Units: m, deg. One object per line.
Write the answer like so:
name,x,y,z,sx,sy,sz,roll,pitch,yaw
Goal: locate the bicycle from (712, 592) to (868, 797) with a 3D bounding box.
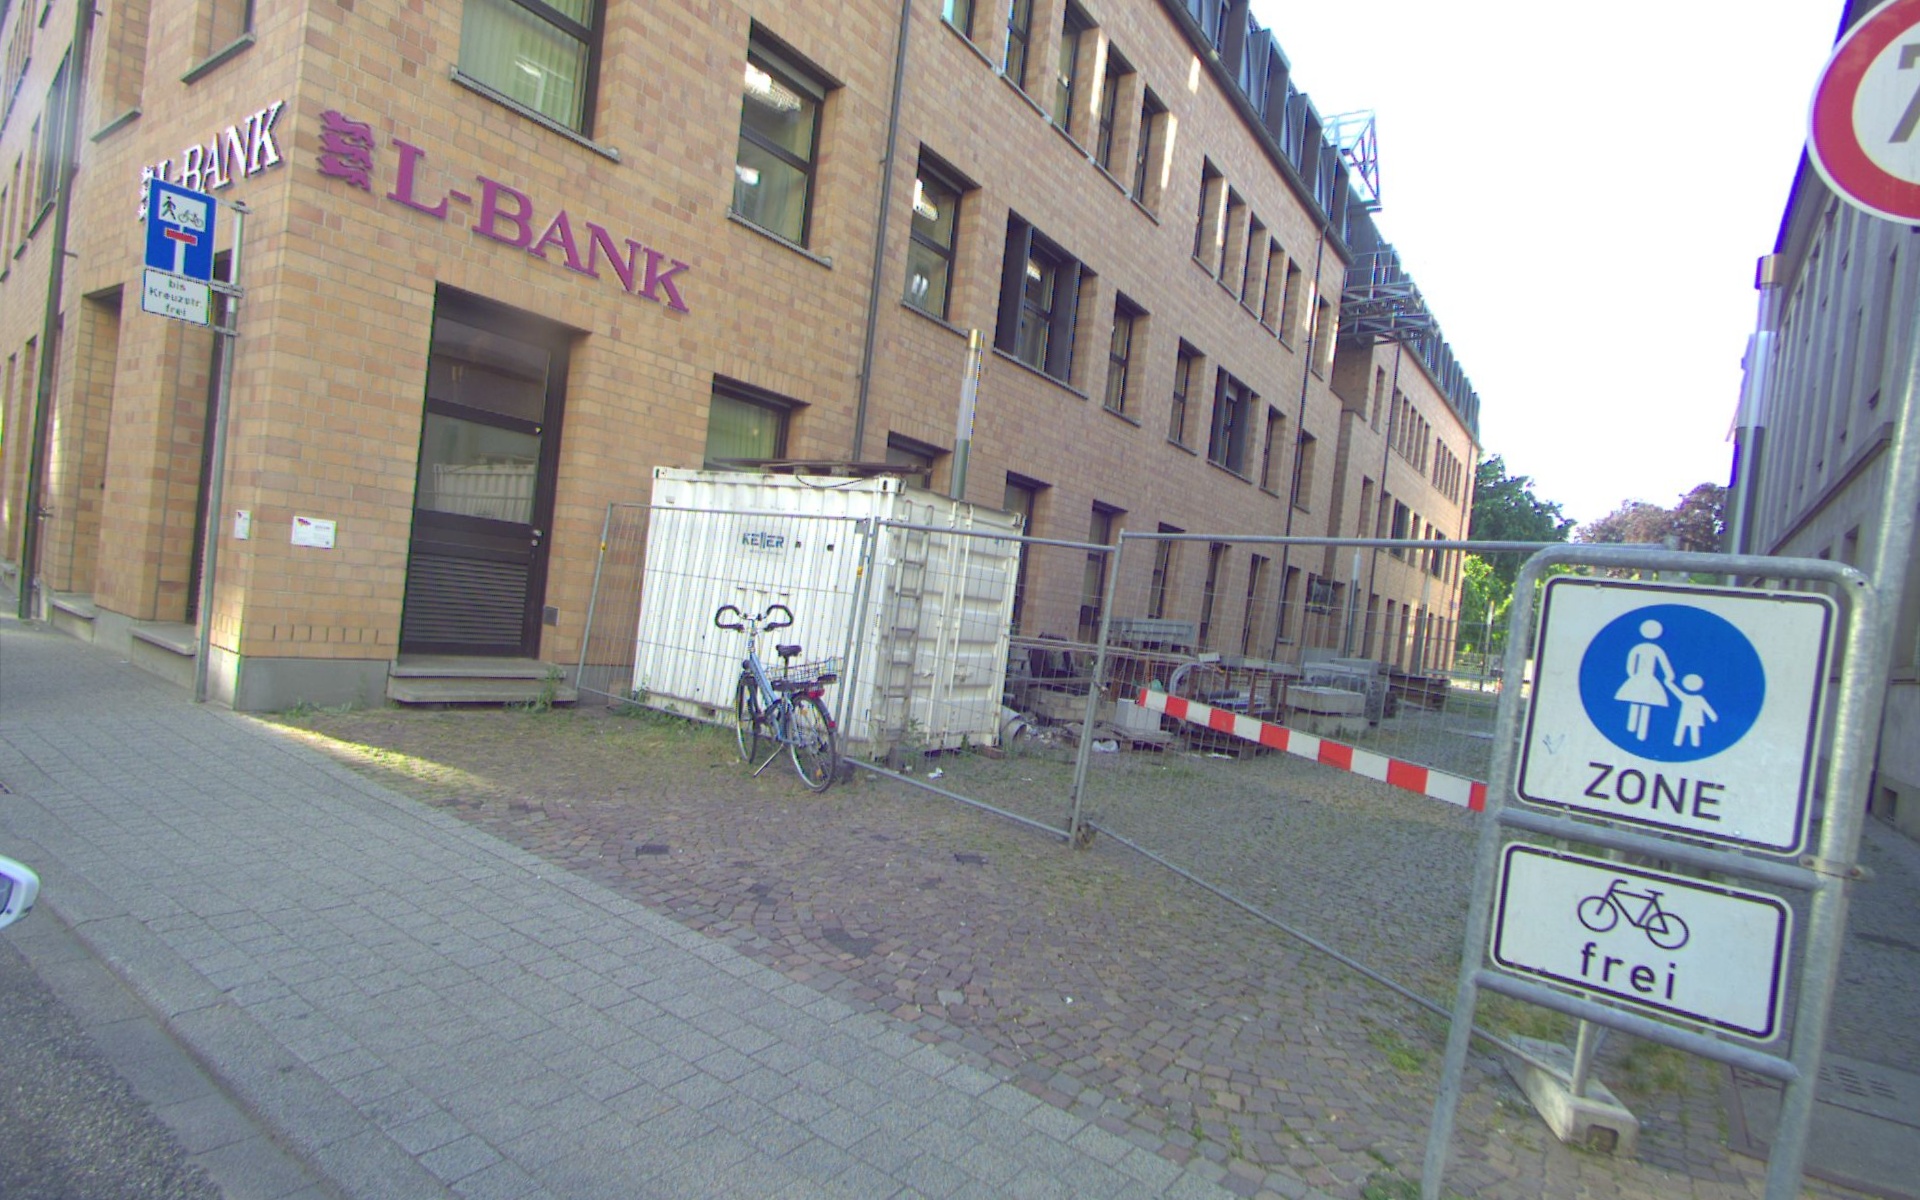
bicycle,-1.287,0.638,7.374,0.317,1.265,1.566,6,1,-37
